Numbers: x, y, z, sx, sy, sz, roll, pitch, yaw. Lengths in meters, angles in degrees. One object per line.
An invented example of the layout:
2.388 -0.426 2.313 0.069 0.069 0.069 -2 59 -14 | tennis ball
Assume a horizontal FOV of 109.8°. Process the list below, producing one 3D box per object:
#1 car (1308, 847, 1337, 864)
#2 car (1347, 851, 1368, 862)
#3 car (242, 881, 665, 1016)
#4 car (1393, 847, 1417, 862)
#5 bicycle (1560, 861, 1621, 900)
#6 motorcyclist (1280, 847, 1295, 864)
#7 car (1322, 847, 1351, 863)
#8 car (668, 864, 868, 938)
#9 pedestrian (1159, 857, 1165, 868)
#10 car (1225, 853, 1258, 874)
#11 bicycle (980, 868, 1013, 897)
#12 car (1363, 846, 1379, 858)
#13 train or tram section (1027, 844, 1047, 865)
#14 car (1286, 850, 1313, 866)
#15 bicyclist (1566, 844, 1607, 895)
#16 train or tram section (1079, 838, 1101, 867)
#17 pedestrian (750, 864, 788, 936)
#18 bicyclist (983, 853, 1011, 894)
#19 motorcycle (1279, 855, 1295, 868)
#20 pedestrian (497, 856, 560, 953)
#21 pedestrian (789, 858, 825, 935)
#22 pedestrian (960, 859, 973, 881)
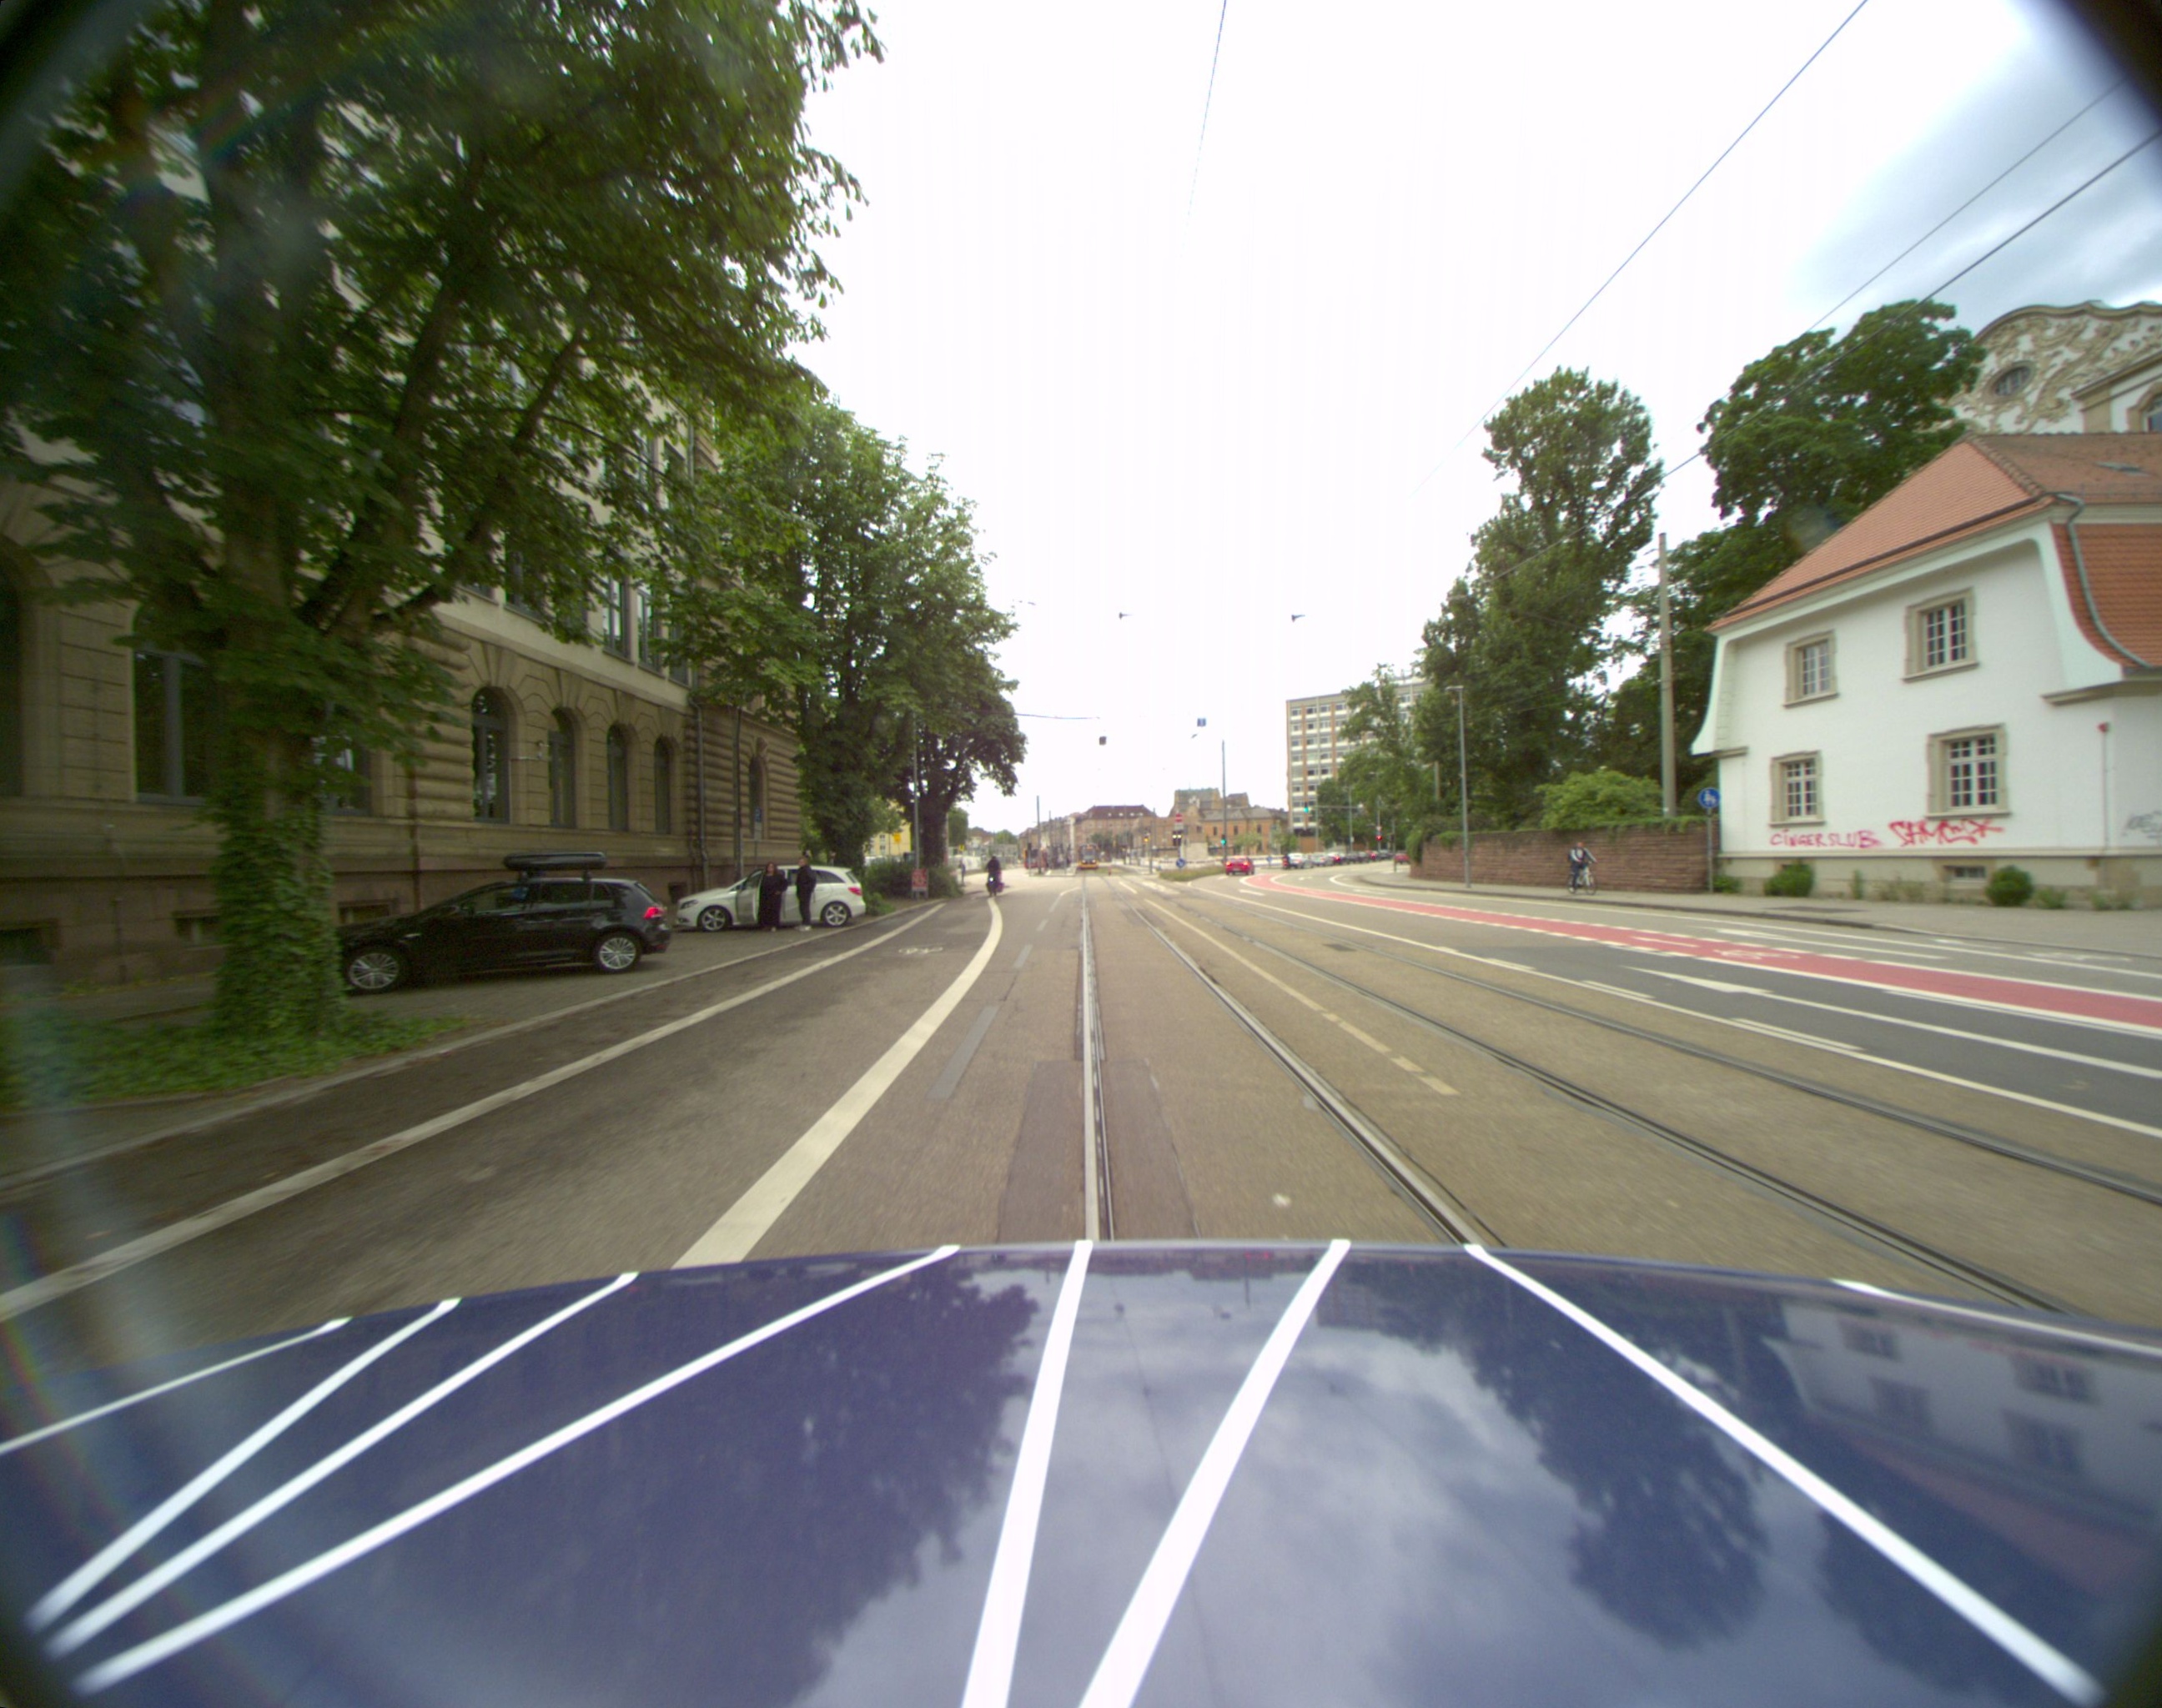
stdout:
25.146 0.184 79.012 1.682 1.641 3.988 -1 1 34 | car
32.191 0.258 88.450 1.420 1.164 3.077 -1 1 36 | car
-8.473 1.172 10.825 4.338 1.394 1.750 -1 0 -33 | car
36.210 0.061 84.857 1.828 1.573 4.007 -1 1 32 | car
17.006 0.864 25.420 0.776 1.205 1.869 -1 0 1 | bicycle
18.876 0.131 69.505 1.074 1.477 1.253 -2 0 23 | motorcyclist
28.163 0.109 83.635 1.782 1.601 4.332 -1 1 35 | car
-7.605 1.088 18.727 4.330 1.542 1.747 -1 0 -22 | car
8.024 0.840 75.475 0.545 1.050 0.637 -2 1 8 | pedestrian
12.448 0.696 58.739 1.757 1.490 4.006 0 1 22 | car
-3.821 1.271 34.488 0.852 1.234 2.311 -2 -1 9 | bicycle
36.175 -0.248 94.691 1.412 1.324 3.316 -1 1 29 | car
-6.431 0.118 111.172 2.610 2.936 4.965 -2 0 -2 | train or tram section
20.910 0.377 72.766 1.491 1.500 3.476 -1 1 33 | car
16.999 0.511 25.551 0.776 1.681 0.869 -1 1 1 | bicyclist
1.144 -0.268 100.742 2.631 3.659 5.984 -2 0 -2 | train or tram section
-7.215 1.054 17.591 0.644 1.616 0.591 -2 1 -8 | pedestrian
-3.812 0.879 34.575 0.881 1.811 1.479 -2 -1 9 | bicyclist
18.686 0.699 68.985 1.054 1.063 2.652 -2 0 22 | motorcycle
-10.686 0.962 14.718 0.680 1.828 0.751 0 1 0 | pedestrian
-6.387 0.981 17.737 0.687 1.740 0.613 -2 1 -17 | pedestrian
-9.053 1.260 59.968 0.917 1.699 1.157 -2 1 -12 | pedestrian
